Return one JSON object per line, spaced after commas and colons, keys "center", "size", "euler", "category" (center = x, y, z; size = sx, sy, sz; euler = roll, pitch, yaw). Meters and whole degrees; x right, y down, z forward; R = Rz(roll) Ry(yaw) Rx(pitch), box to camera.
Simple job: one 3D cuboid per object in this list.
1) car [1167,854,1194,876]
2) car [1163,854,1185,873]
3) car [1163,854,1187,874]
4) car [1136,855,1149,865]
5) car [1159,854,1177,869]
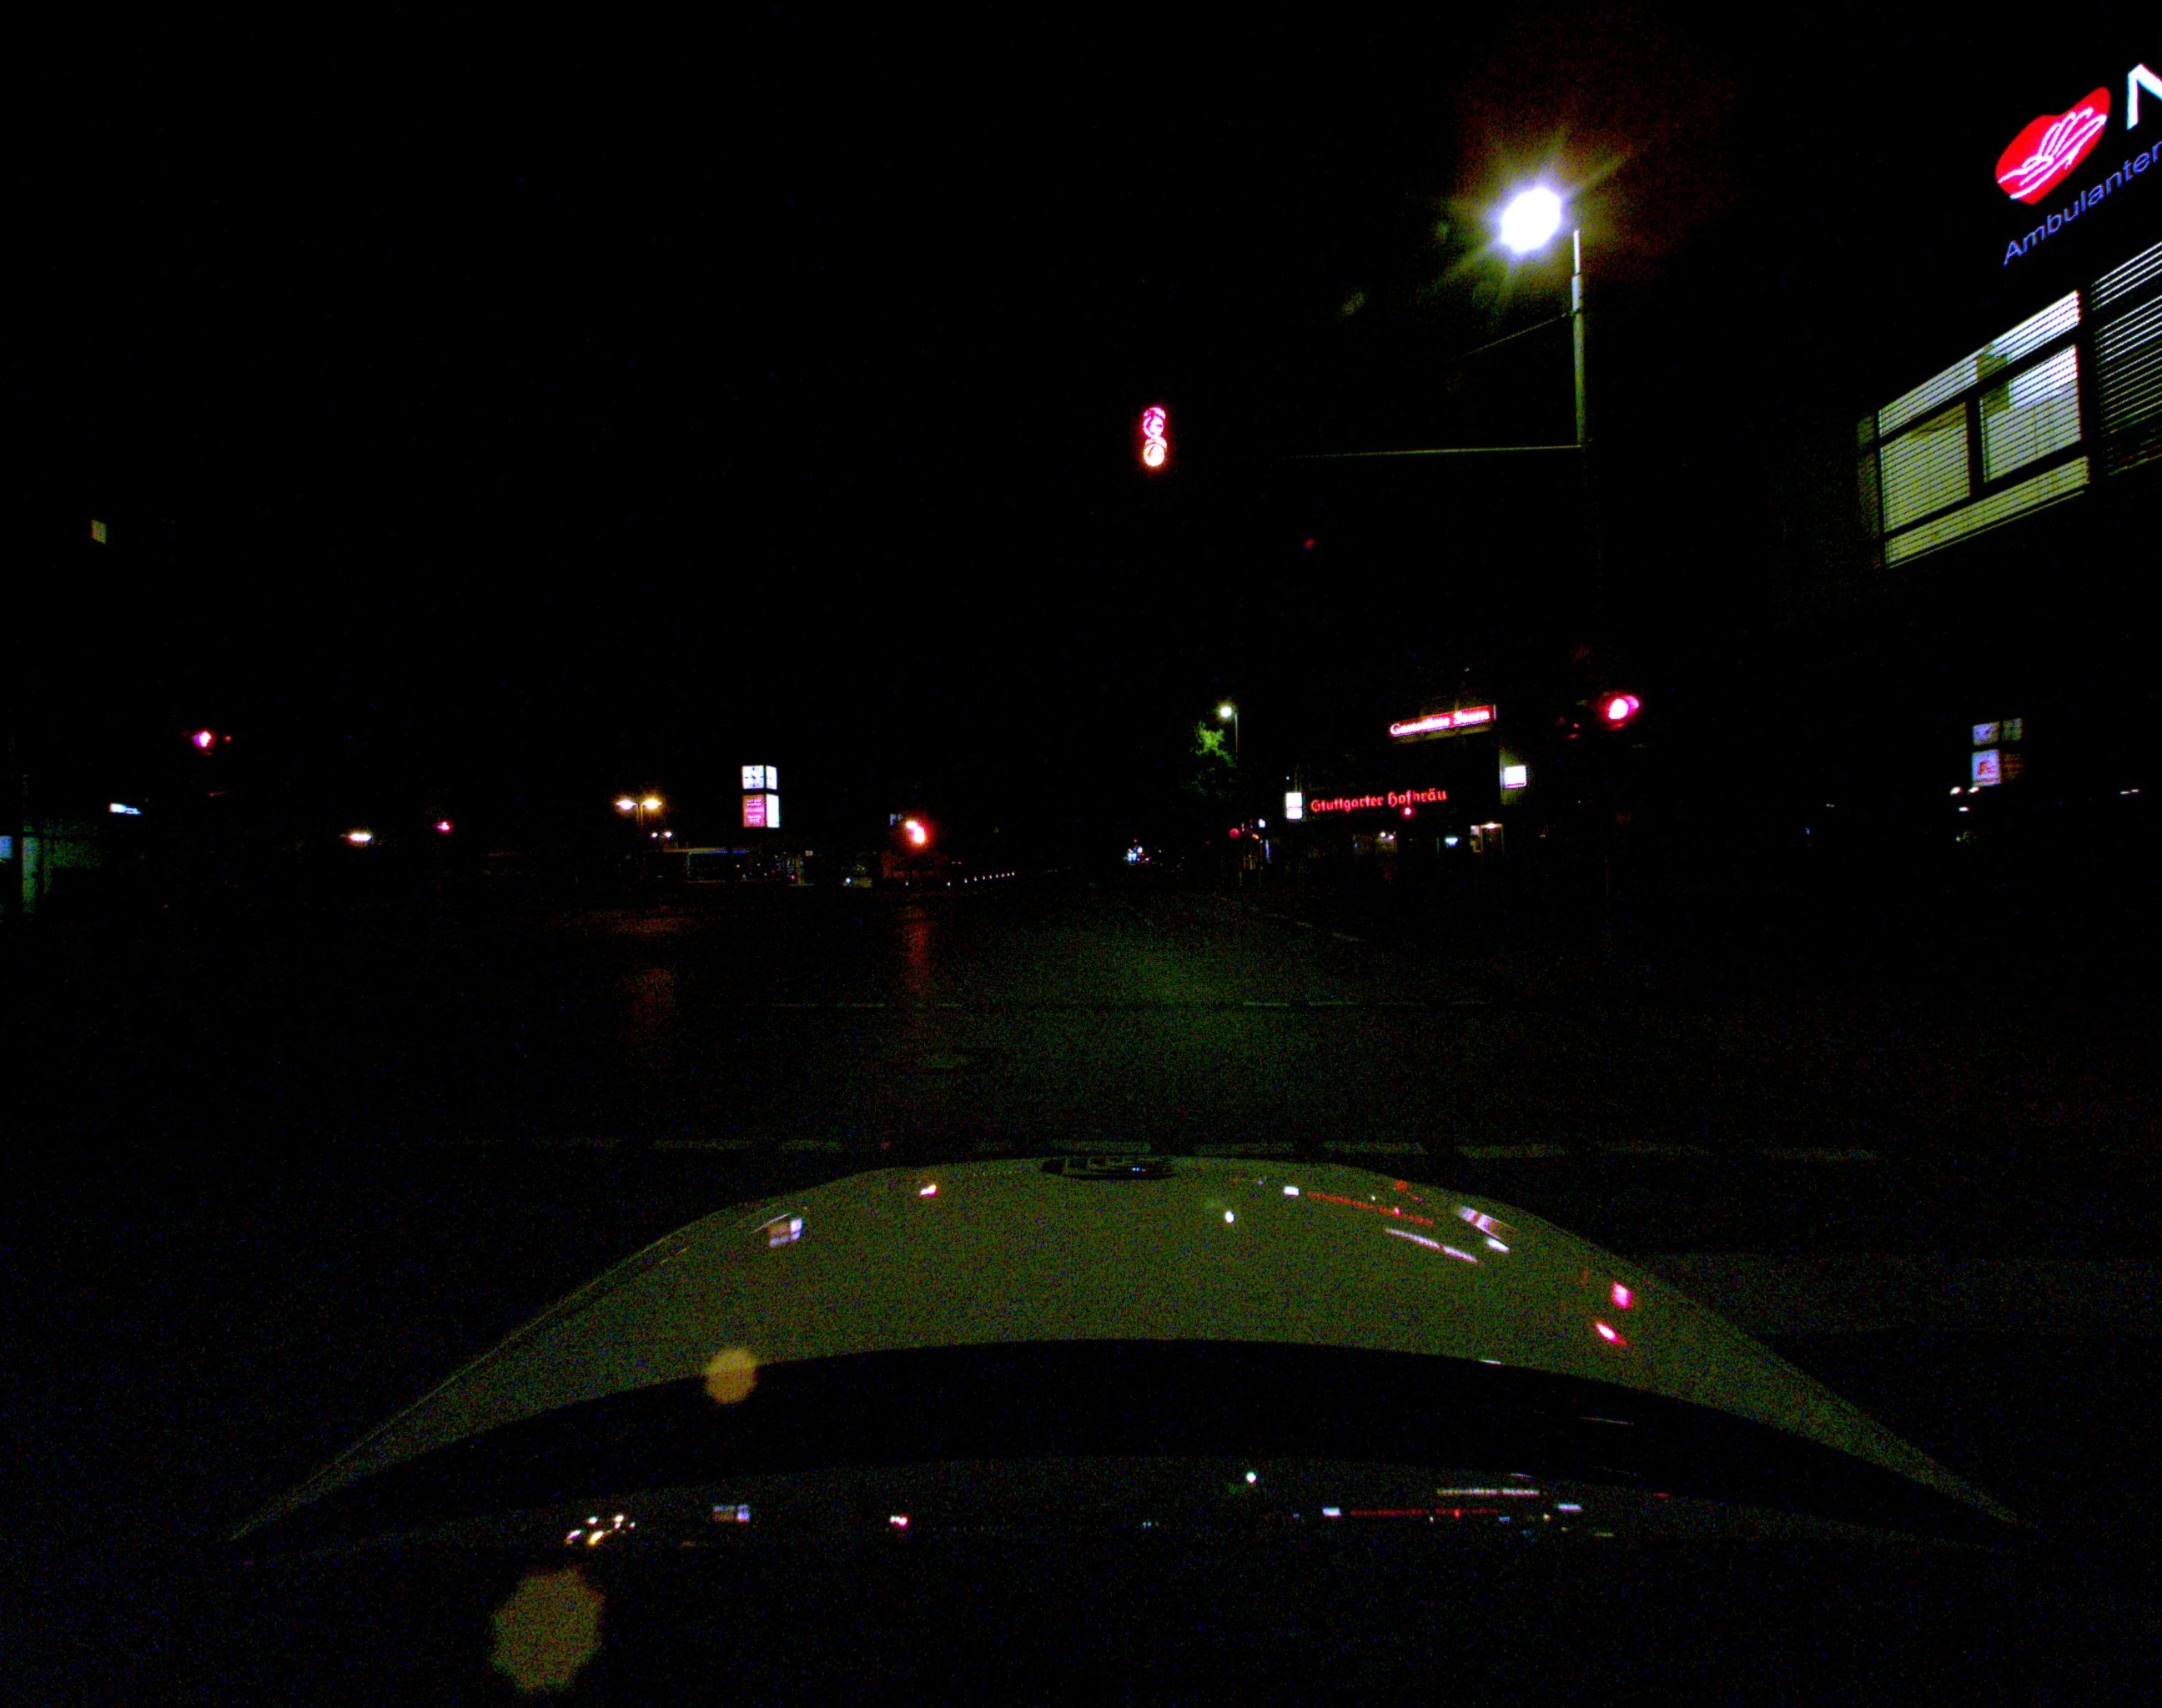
{"center": [7.724, 0.860, 63.643], "size": [1.868, 1.615, 4.005], "euler": [-2, -1, 5], "category": "car"}
{"center": [8.675, 0.875, 76.428], "size": [1.868, 1.729, 4.005], "euler": [-2, -1, 5], "category": "car"}
{"center": [7.881, 0.829, 68.772], "size": [1.868, 1.615, 4.005], "euler": [-2, -1, 5], "category": "car"}
{"center": [9.686, 0.944, 128.774], "size": [1.866, 1.454, 4.319], "euler": [0, 0, 2], "category": "car"}
{"center": [10.047, 0.872, 94.424], "size": [1.868, 1.683, 4.005], "euler": [-2, -1, 5], "category": "car"}
